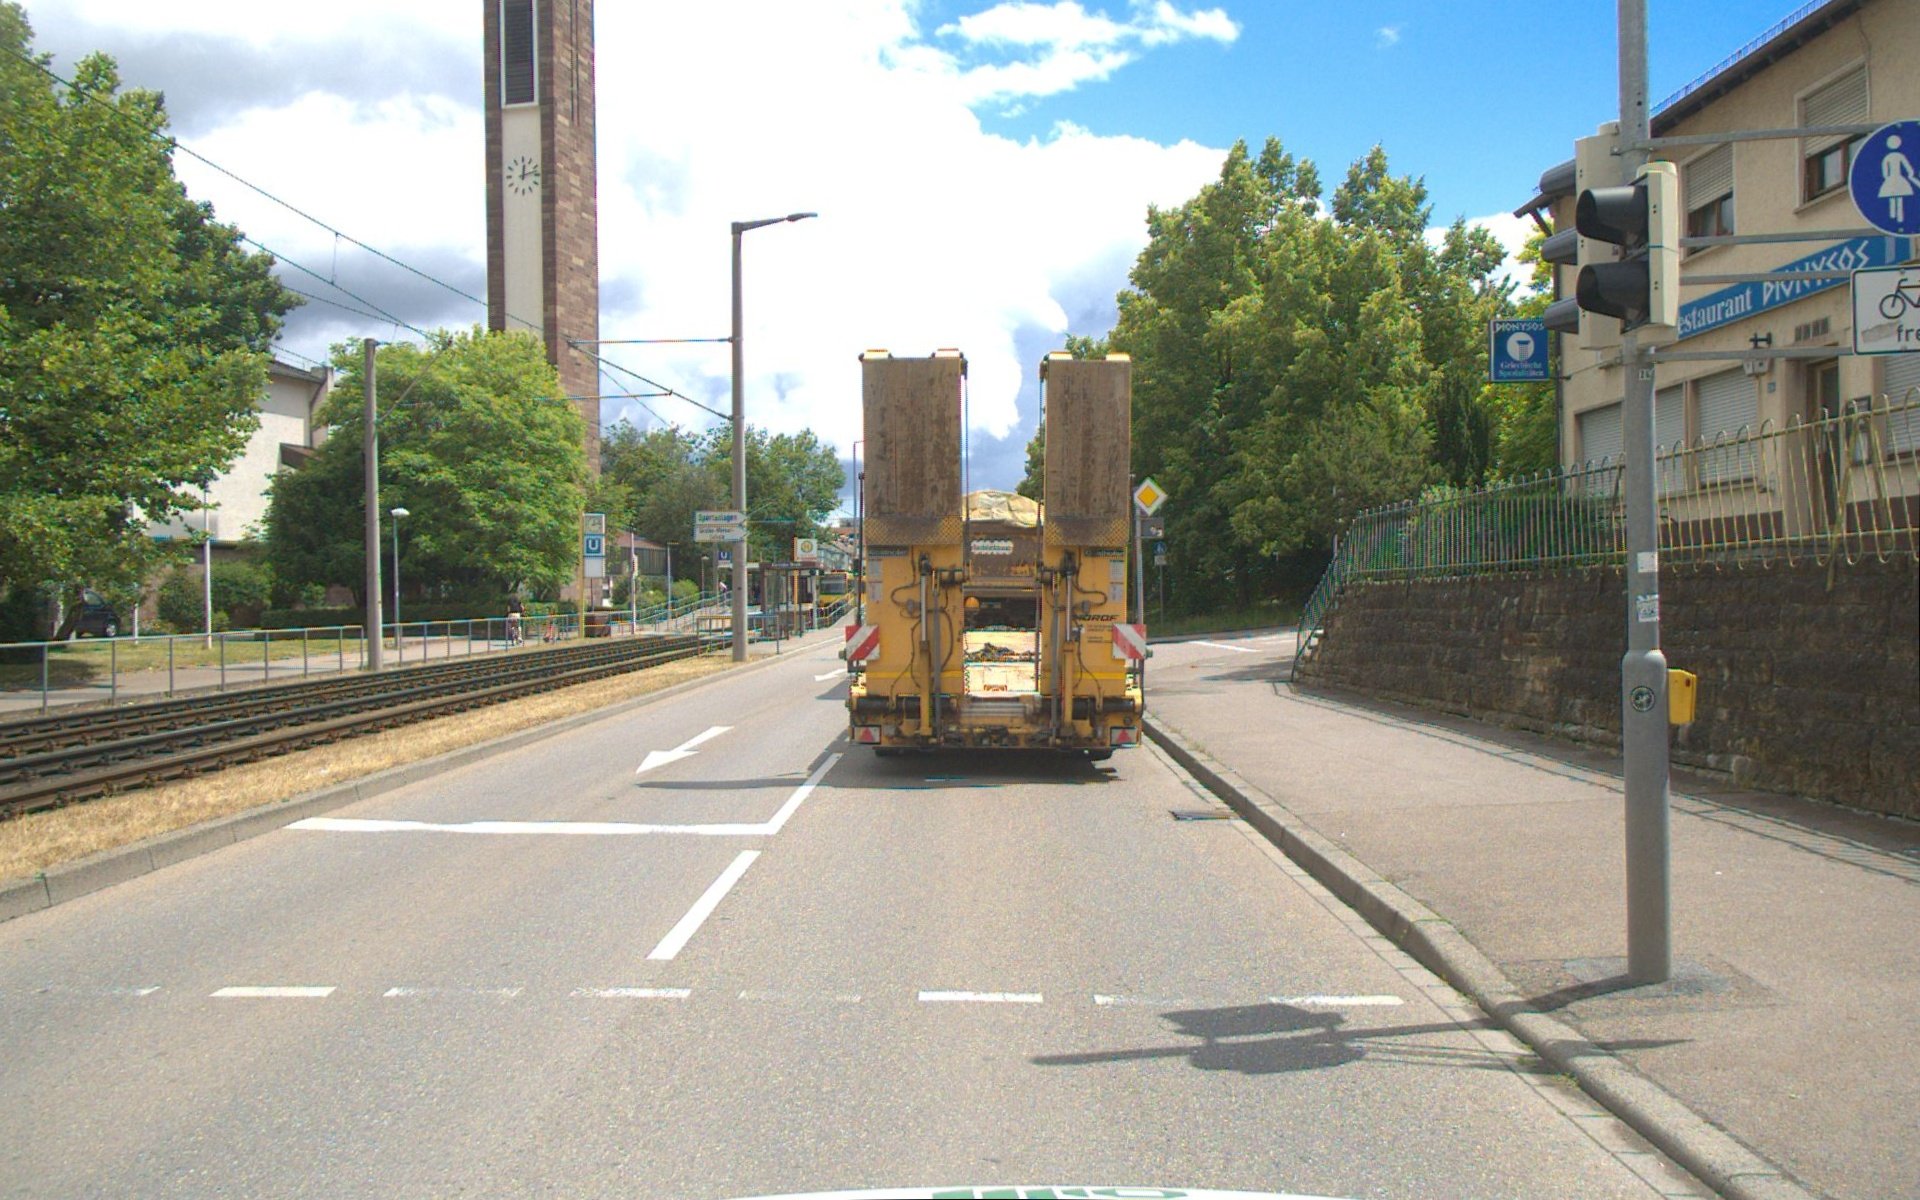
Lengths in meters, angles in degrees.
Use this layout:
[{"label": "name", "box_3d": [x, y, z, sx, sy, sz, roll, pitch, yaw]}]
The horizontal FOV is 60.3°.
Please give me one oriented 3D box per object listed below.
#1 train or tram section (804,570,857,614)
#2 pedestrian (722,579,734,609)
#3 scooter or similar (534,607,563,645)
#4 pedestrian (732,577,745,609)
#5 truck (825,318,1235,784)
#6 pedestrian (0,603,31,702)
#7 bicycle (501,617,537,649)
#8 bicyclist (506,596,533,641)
[{"label": "train or tram section", "box_3d": [-11.339, -0.642, 146.377, 3.044, 3.525, 18.826, 1, 0, 0]}, {"label": "pedestrian", "box_3d": [-14.002, -0.380, 99.893, 0.572, 1.809, 0.576, 1, 0, 0]}, {"label": "scooter or similar", "box_3d": [-14.223, 0.897, 57.216, 0.636, 1.258, 1.401, 1, 1, 1]}, {"label": "pedestrian", "box_3d": [-14.029, -0.438, 104.855, 0.697, 2.049, 0.731, 1, 0, -2]}, {"label": "truck", "box_3d": [0.358, -0.406, 20.430, 3.334, 3.797, 13.733, -1, 0, -2]}, {"label": "pedestrian", "box_3d": [-15.420, 0.831, 26.485, 0.600, 1.567, 0.874, 0, 0, -1]}, {"label": "bicycle", "box_3d": [-14.332, 1.063, 53.823, 0.624, 1.011, 1.928, 1, 0, 0]}, {"label": "bicyclist", "box_3d": [-14.297, 0.589, 53.700, 0.620, 1.454, 0.790, 1, 0, 0]}]
